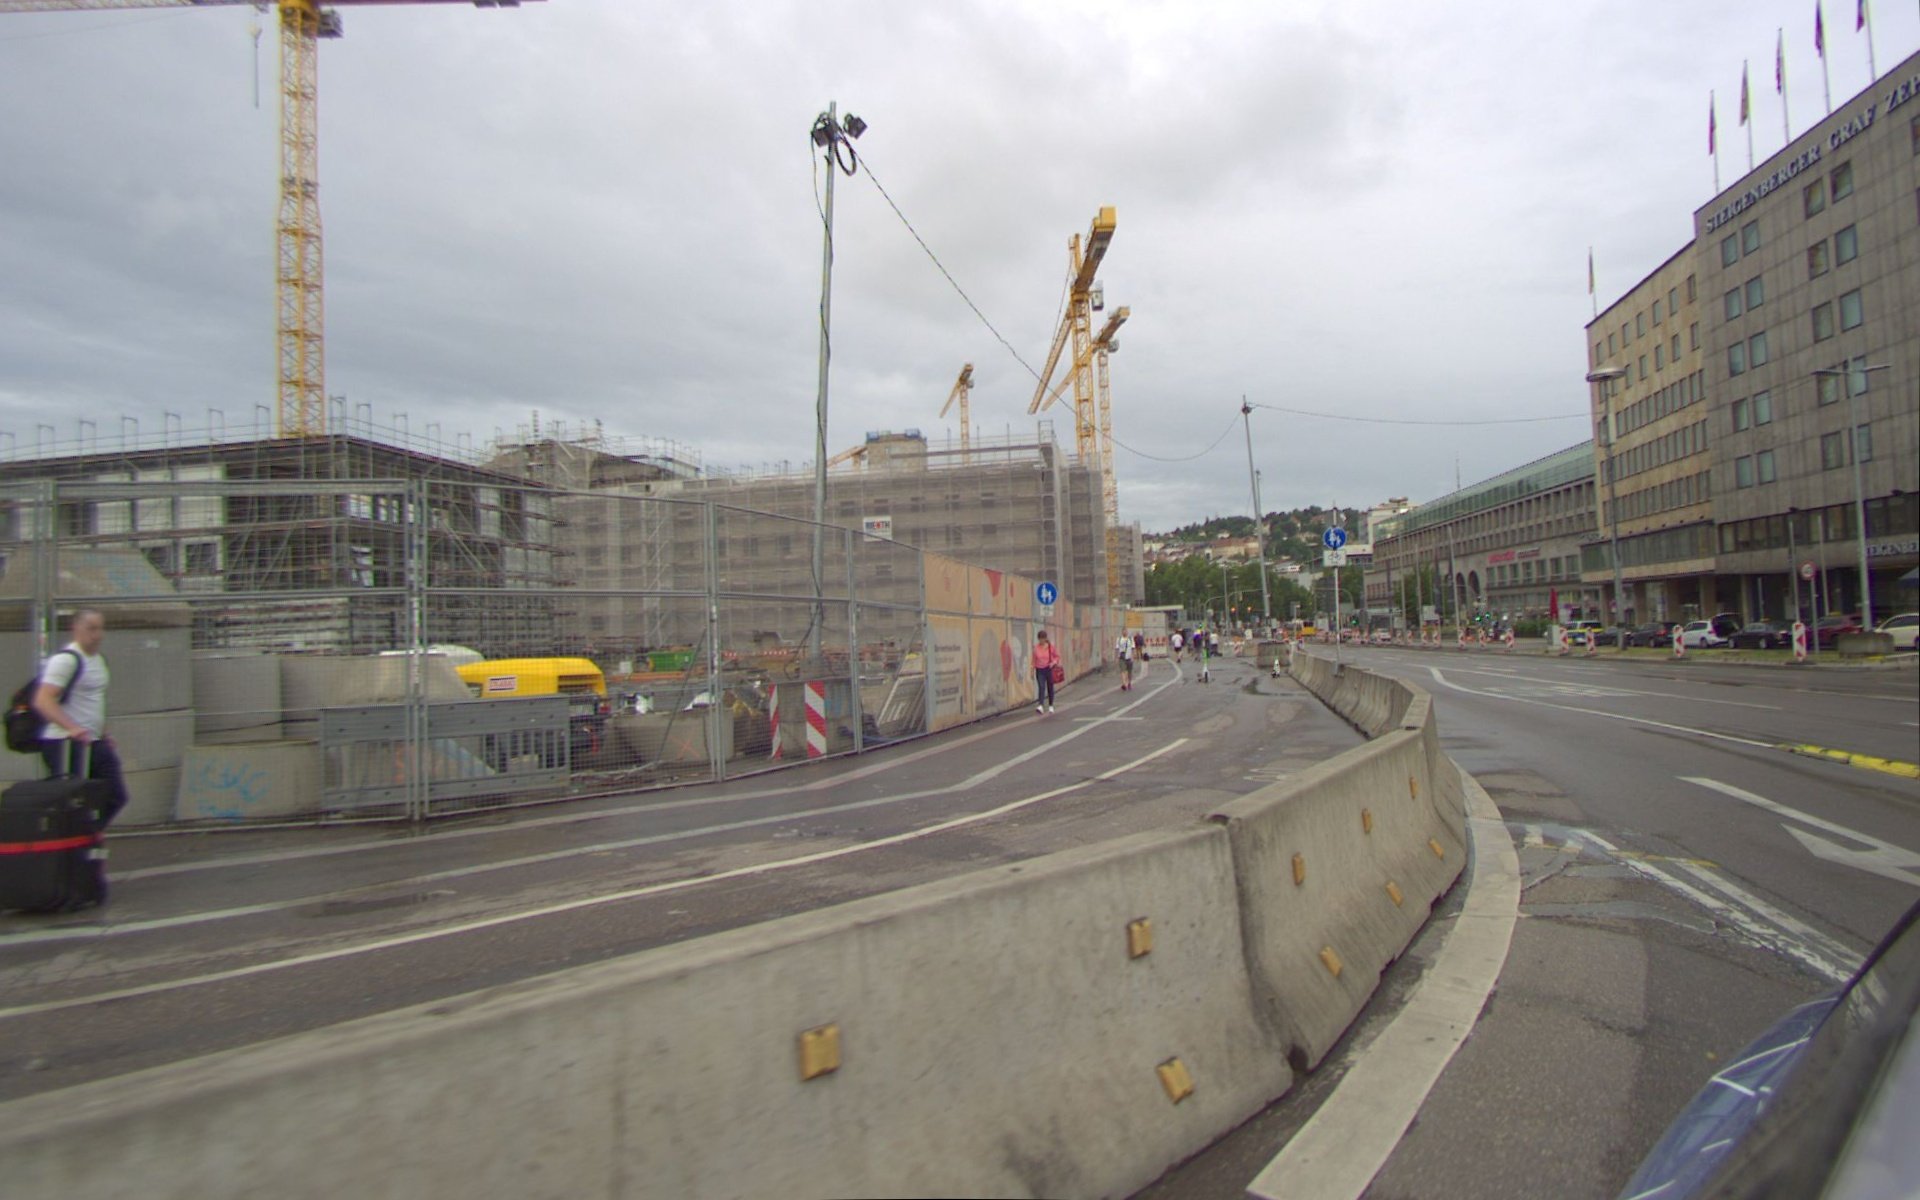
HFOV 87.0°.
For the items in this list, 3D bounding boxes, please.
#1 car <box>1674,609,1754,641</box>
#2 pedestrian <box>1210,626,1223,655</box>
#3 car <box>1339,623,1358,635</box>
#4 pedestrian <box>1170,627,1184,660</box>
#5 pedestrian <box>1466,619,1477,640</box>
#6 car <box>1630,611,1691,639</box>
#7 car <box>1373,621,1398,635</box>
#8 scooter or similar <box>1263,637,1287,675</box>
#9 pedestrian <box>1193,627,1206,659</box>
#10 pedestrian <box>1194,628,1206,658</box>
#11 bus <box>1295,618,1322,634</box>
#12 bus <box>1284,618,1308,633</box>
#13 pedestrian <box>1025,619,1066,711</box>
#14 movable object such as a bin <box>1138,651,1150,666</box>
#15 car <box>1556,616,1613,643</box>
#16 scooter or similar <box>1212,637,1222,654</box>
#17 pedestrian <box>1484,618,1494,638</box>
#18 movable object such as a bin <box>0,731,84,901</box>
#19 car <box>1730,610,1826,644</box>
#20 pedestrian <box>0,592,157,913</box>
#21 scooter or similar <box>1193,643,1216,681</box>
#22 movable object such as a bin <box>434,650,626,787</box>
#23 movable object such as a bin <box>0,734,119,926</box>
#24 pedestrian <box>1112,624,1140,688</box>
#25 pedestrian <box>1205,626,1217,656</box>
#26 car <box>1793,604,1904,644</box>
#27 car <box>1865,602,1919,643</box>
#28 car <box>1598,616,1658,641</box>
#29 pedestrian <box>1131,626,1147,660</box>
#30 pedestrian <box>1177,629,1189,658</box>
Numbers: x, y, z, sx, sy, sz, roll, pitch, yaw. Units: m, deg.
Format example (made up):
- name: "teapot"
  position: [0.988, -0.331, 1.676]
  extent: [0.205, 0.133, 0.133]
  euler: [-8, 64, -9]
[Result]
- name: "car"
  position: [44.697, 1.494, 60.116]
  extent: [1.731, 1.781, 4.696]
  euler: [-2, -2, 9]
- name: "pedestrian"
  position: [18.484, 2.894, 73.026]
  extent: [0.794, 2.043, 0.967]
  euler: [-3, -3, 16]
- name: "car"
  position: [56.385, 4.244, 146.856]
  extent: [1.752, 1.691, 4.482]
  euler: [-1, -2, 12]
- name: "pedestrian"
  position: [11.652, 2.332, 54.321]
  extent: [0.675, 1.763, 0.903]
  euler: [-2, -3, 13]
- name: "pedestrian"
  position: [52.499, 3.018, 103.834]
  extent: [0.694, 2.040, 0.804]
  euler: [-2, -2, 11]
- name: "car"
  position: [45.380, 1.662, 65.643]
  extent: [1.733, 1.703, 4.209]
  euler: [-2, -3, 13]
- name: "car"
  position: [53.625, 3.576, 127.632]
  extent: [1.800, 1.691, 4.485]
  euler: [-2, -2, 10]
- name: "scooter or similar"
  position: [10.693, 1.902, 34.356]
  extent: [0.668, 1.230, 1.561]
  euler: [-3, -3, 19]
- name: "pedestrian"
  position: [13.463, 2.398, 56.933]
  extent: [0.635, 1.763, 0.834]
  euler: [-3, -3, 13]
- name: "pedestrian"
  position: [15.595, 2.766, 65.729]
  extent: [0.676, 1.914, 0.689]
  euler: [-3, -3, 16]
- name: "bus"
  position: [67.712, 5.015, 196.929]
  extent: [2.862, 2.978, 9.798]
  euler: [-2, -2, 7]
- name: "bus"
  position: [68.819, 5.241, 207.568]
  extent: [2.862, 2.978, 9.798]
  euler: [-2, -2, 7]
- name: "pedestrian"
  position: [1.806, 1.371, 21.366]
  extent: [0.710, 1.890, 0.706]
  euler: [-2, -3, 13]
- name: "movable object such as a bin"
  position: [10.609, 3.377, 58.304]
  extent: [0.590, 0.743, 0.775]
  euler: [-2, 2, 15]
- name: "car"
  position: [48.213, 2.342, 78.237]
  extent: [1.875, 1.954, 5.058]
  euler: [-2, -3, 9]
- name: "scooter or similar"
  position: [18.784, 3.338, 73.967]
  extent: [0.657, 1.214, 1.038]
  euler: [-3, -3, 15]
- name: "pedestrian"
  position: [53.242, 2.816, 101.794]
  extent: [0.582, 1.950, 0.749]
  euler: [-2, -3, 10]
- name: "movable object such as a bin"
  position: [-6.292, 1.437, 6.797]
  extent: [0.543, 1.029, 0.519]
  euler: [0, -3, -33]
- name: "car"
  position: [43.684, 1.445, 54.185]
  extent: [1.878, 1.681, 4.600]
  euler: [-3, -2, 10]
- name: "pedestrian"
  position: [-5.742, 0.917, 6.540]
  extent: [0.763, 1.889, 1.003]
  euler: [0, -3, -33]
- name: "scooter or similar"
  position: [8.004, 2.009, 33.160]
  extent: [0.460, 1.199, 1.412]
  euler: [-2, -2, 5]
- name: "movable object such as a bin"
  position: [-5.218, 1.383, 12.340]
  extent: [1.871, 1.490, 1.180]
  euler: [-1, -1, 20]
- name: "movable object such as a bin"
  position: [-5.441, 1.359, 6.104]
  extent: [0.512, 1.029, 0.432]
  euler: [0, -3, -33]
- name: "pedestrian"
  position: [5.090, 1.707, 30.958]
  extent: [0.695, 1.890, 0.985]
  euler: [-3, -3, 15]
- name: "pedestrian"
  position: [16.259, 2.632, 65.536]
  extent: [0.676, 1.914, 0.689]
  euler: [-3, -3, 16]
- name: "car"
  position: [42.656, 1.173, 48.725]
  extent: [1.879, 1.791, 4.628]
  euler: [-2, -2, 12]
- name: "car"
  position: [41.583, 0.944, 43.466]
  extent: [1.793, 1.720, 4.562]
  euler: [-2, -2, 10]
- name: "car"
  position: [46.757, 2.020, 70.951]
  extent: [1.731, 1.642, 4.550]
  euler: [-2, -2, 9]
- name: "pedestrian"
  position: [10.273, 2.459, 58.065]
  extent: [0.758, 1.920, 0.650]
  euler: [-3, -3, 15]
- name: "pedestrian"
  position: [14.788, 2.885, 67.067]
  extent: [0.675, 1.914, 0.690]
  euler: [-2, -3, 12]
